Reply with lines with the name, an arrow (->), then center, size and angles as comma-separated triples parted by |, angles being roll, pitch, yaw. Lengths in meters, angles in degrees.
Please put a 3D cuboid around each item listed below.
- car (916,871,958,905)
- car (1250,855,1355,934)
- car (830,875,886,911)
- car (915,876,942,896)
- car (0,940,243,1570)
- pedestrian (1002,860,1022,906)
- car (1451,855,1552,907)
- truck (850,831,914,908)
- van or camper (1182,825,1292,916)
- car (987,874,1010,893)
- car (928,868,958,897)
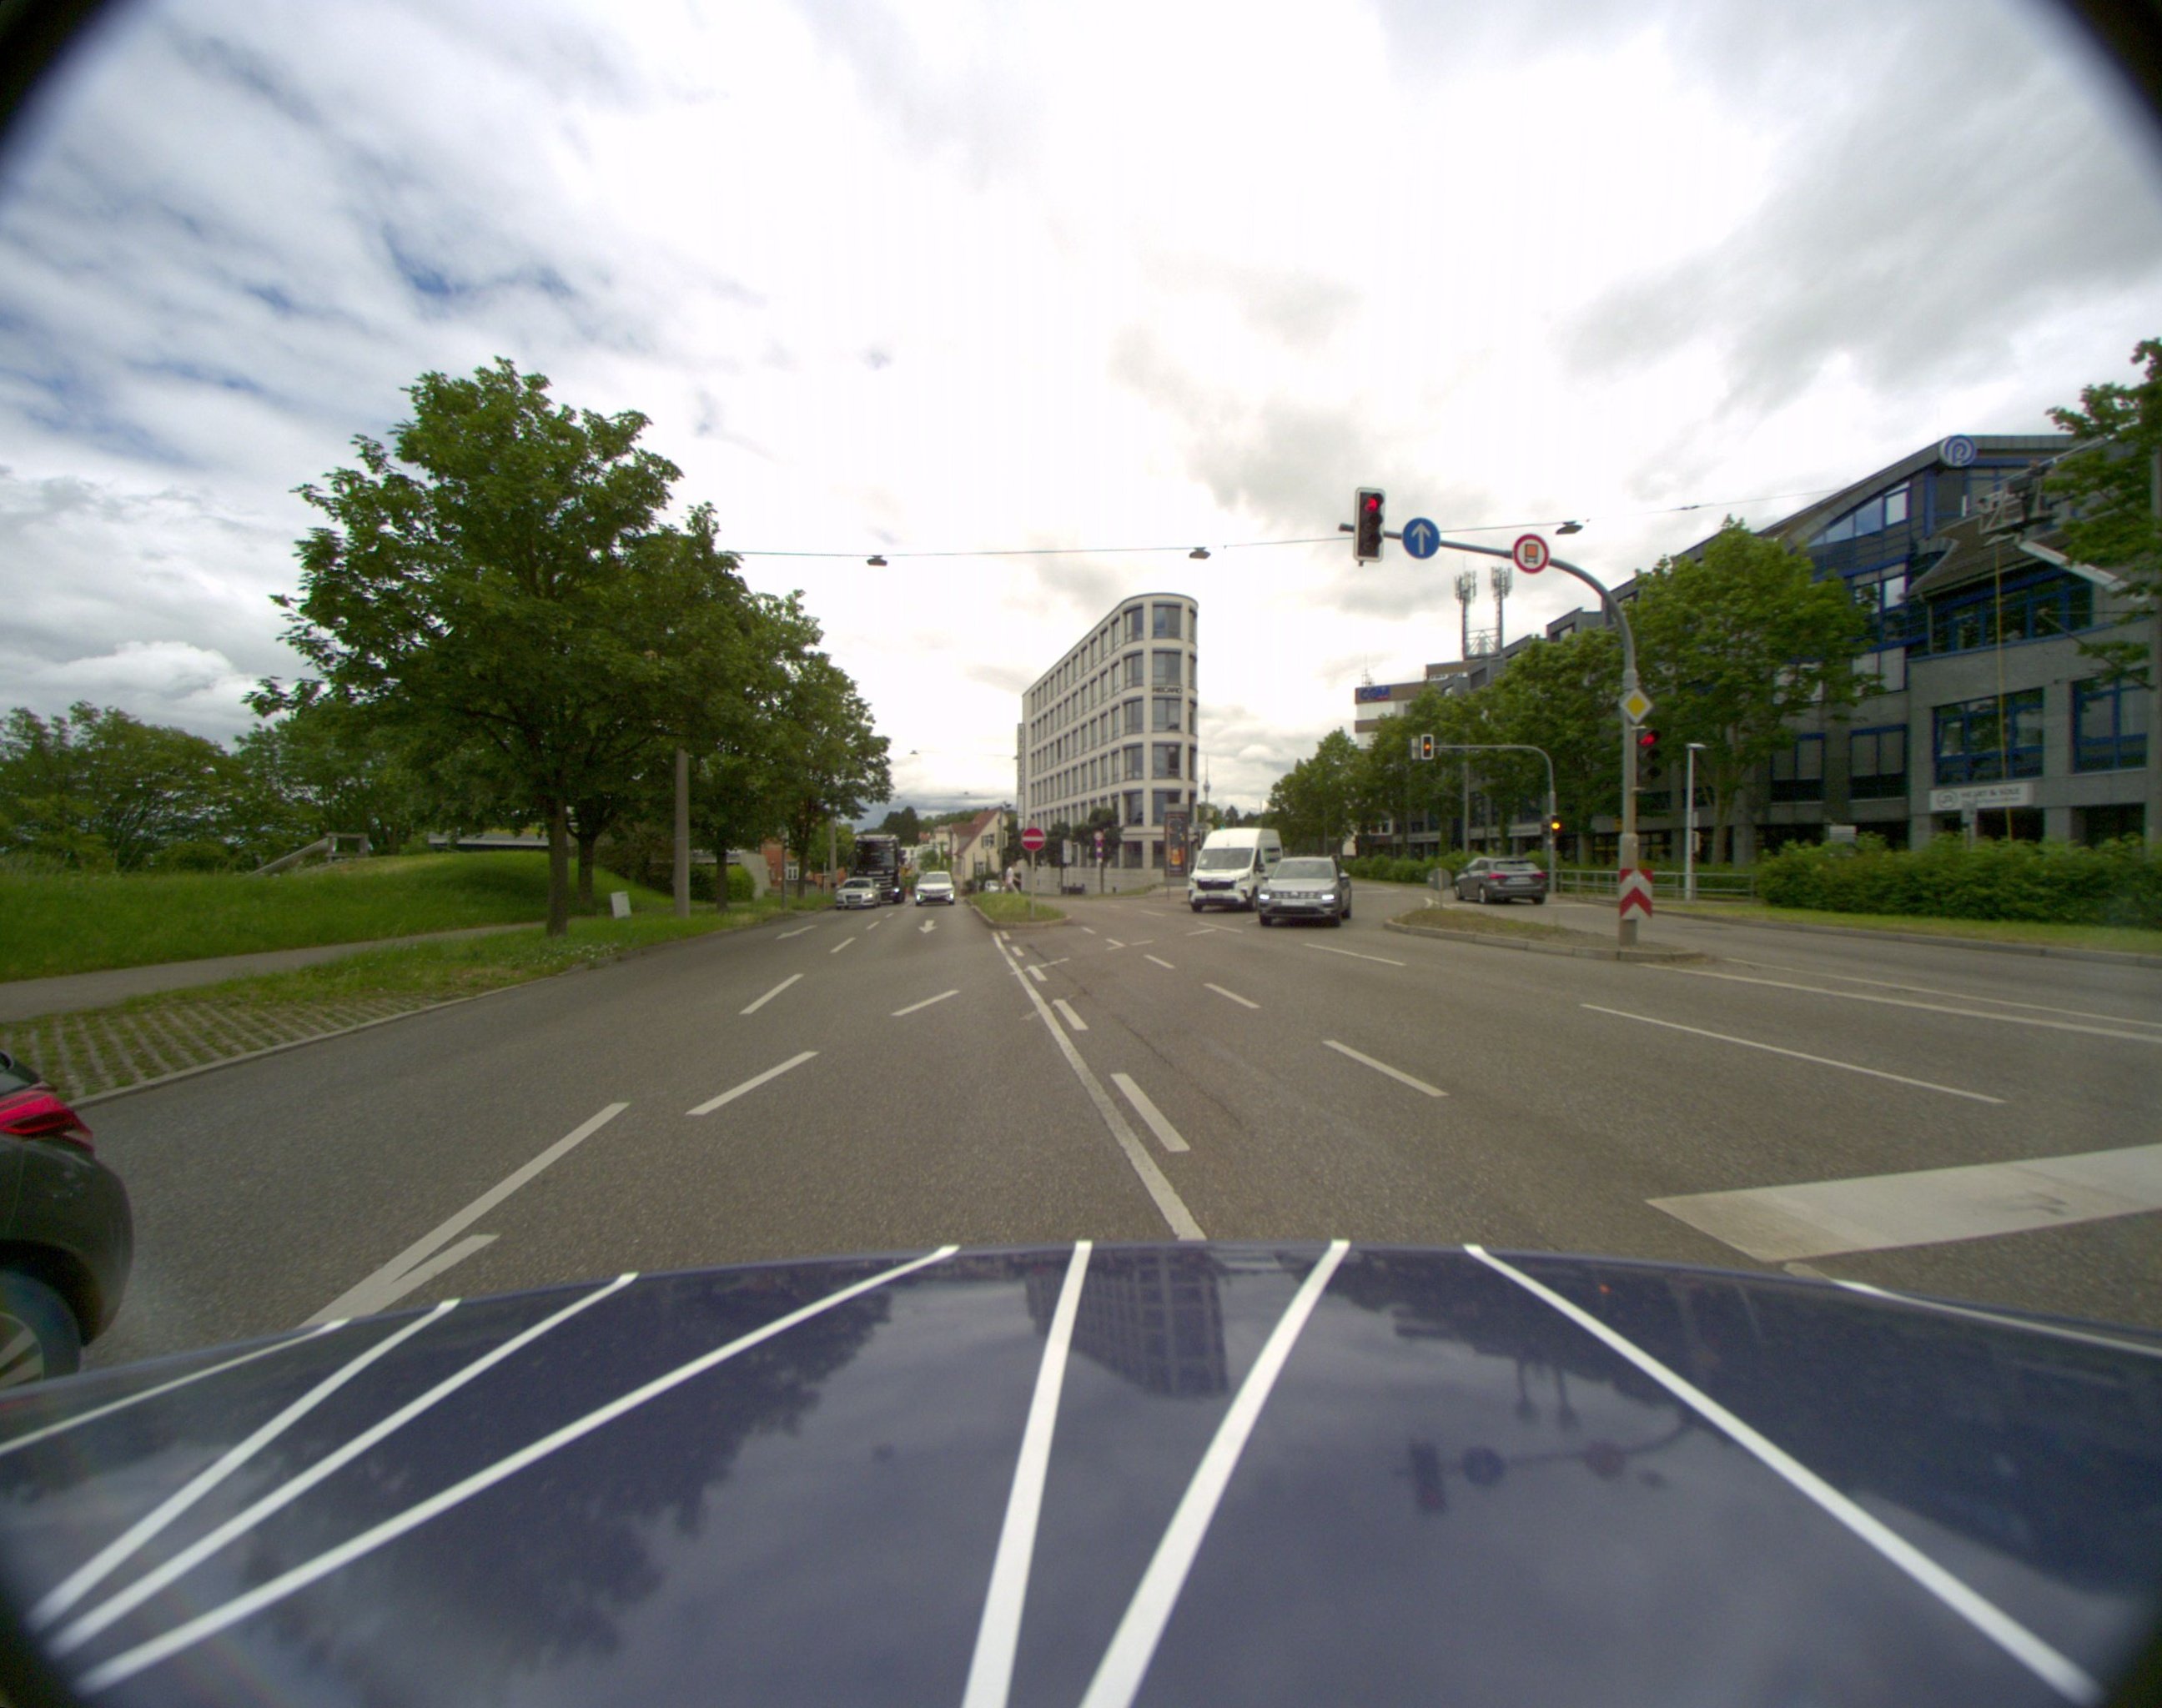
car -> -6.952, 1.609, 36.904 | 1.856, 1.520, 4.485 | -2, -1, -10
car -> 5.567, 0.901, 18.688 | 1.830, 1.636, 4.333 | -2, 0, 25
car -> -10.203, 1.745, 35.026 | 1.990, 1.434, 4.155 | -2, 0, -10
car -> -12.922, 2.695, 64.159 | 1.738, 1.559, 4.321 | -3, -1, -17
car -> -3.430, 1.008, 0.298 | 1.705, 1.452, 4.062 | -2, 0, -1
pedestrian -> -2.916, 1.215, 32.174 | 0.757, 1.906, 0.587 | -1, 0, -10
car -> 13.796, 0.839, 25.199 | 1.785, 1.528, 4.401 | -2, -1, 13
truck -> -11.399, 0.845, 44.277 | 2.829, 3.902, 9.449 | -2, 0, -11
van or camper -> 5.414, 0.485, 25.528 | 2.106, 2.674, 6.310 | -2, 0, 25
car -> -9.956, 3.539, 91.561 | 2.179, 2.002, 3.995 | -1, 1, -14
car -> -9.340, 1.904, 51.130 | 1.756, 1.786, 4.283 | -2, -1, -12
